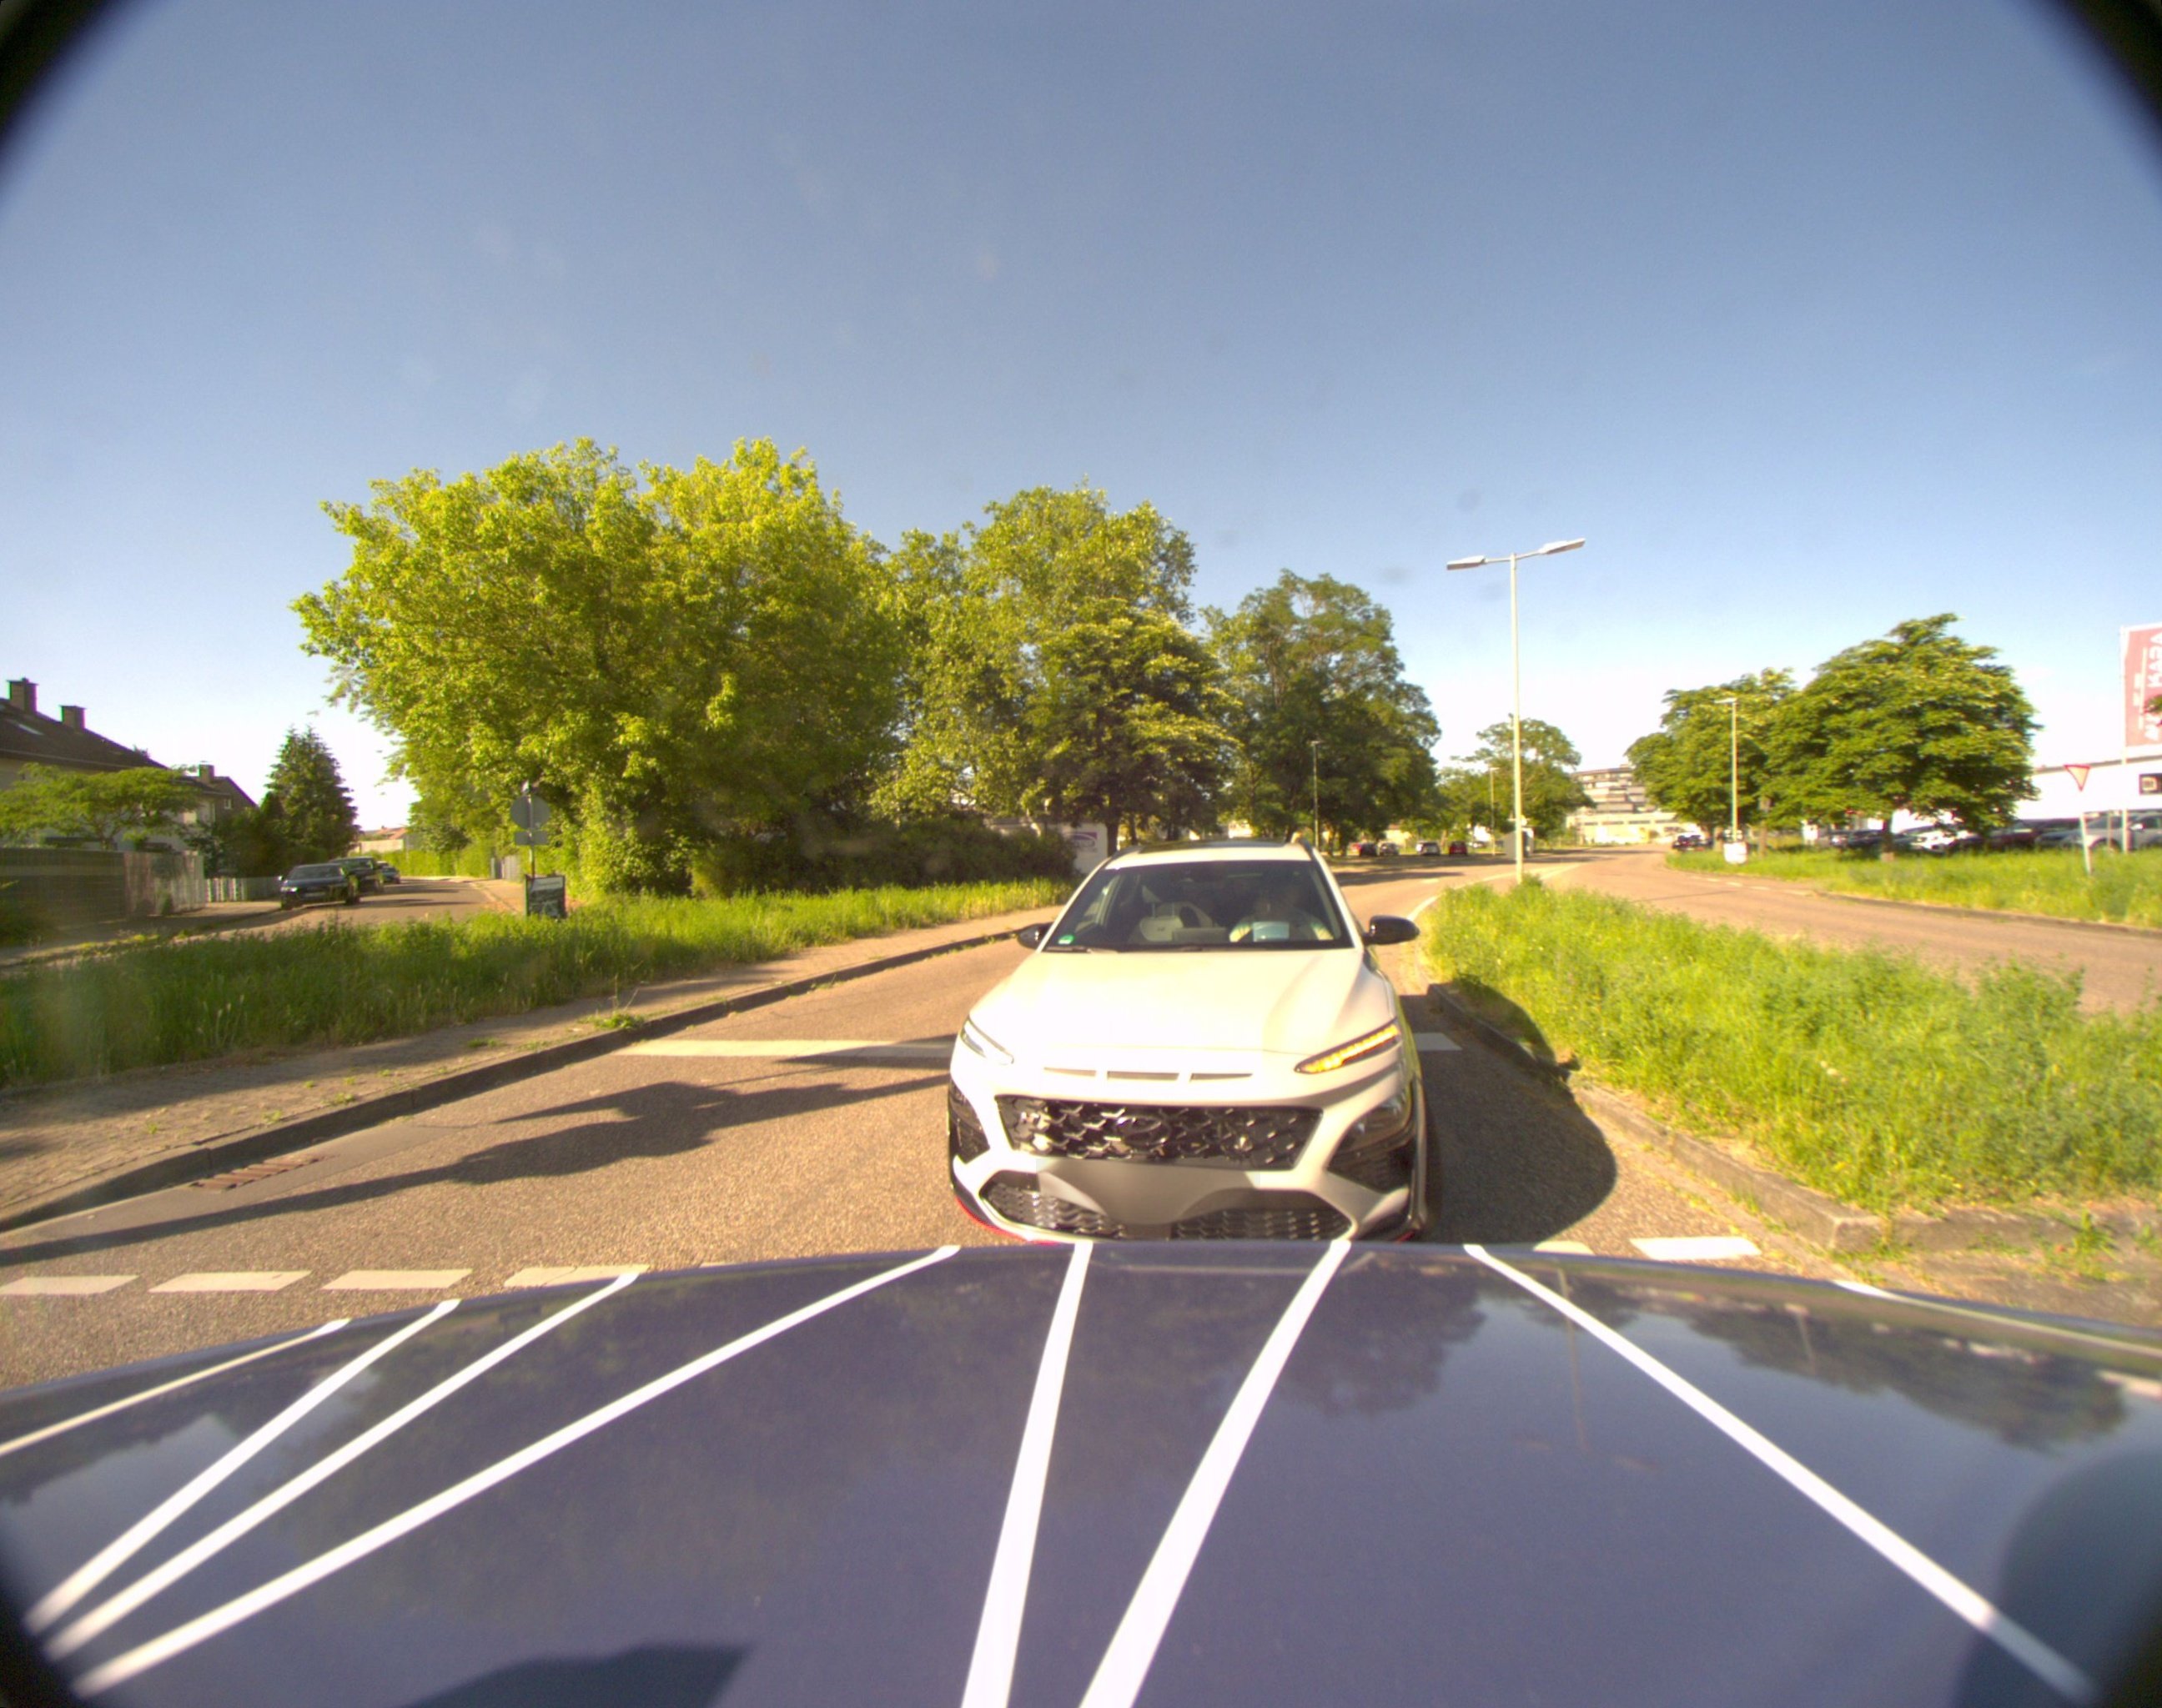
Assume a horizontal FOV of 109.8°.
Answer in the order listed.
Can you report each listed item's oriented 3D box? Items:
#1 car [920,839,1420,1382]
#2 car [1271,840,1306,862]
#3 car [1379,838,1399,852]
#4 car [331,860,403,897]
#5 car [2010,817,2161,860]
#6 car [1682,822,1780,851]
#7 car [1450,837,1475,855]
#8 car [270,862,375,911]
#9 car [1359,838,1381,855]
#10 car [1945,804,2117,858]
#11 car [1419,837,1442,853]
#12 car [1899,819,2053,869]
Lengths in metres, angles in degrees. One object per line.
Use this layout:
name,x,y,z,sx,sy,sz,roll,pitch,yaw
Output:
car,0.844,0.785,4.558,1.712,1.636,4.059,-1,2,17
car,18.211,-0.277,66.537,2.005,1.785,4.007,-2,1,28
car,32.870,-0.980,81.091,1.868,1.432,3.488,1,2,24
car,-35.241,1.165,37.605,1.966,1.657,3.990,-4,2,-35
car,37.564,-0.580,27.902,3.992,1.400,1.841,-2,1,18
car,37.774,-0.985,44.259,3.990,1.521,1.932,-1,1,27
car,36.806,-0.762,73.432,1.995,1.657,4.006,1,2,24
car,-27.711,1.114,27.901,2.003,1.547,3.990,-3,1,-35
car,28.936,-0.737,76.045,1.733,1.610,4.006,1,2,24
car,38.440,-0.904,30.869,3.993,2.002,2.002,-1,1,14
car,34.292,-0.903,74.533,1.995,1.442,4.006,1,2,24
car,39.239,-0.431,33.435,3.993,2.002,2.002,-2,1,13
